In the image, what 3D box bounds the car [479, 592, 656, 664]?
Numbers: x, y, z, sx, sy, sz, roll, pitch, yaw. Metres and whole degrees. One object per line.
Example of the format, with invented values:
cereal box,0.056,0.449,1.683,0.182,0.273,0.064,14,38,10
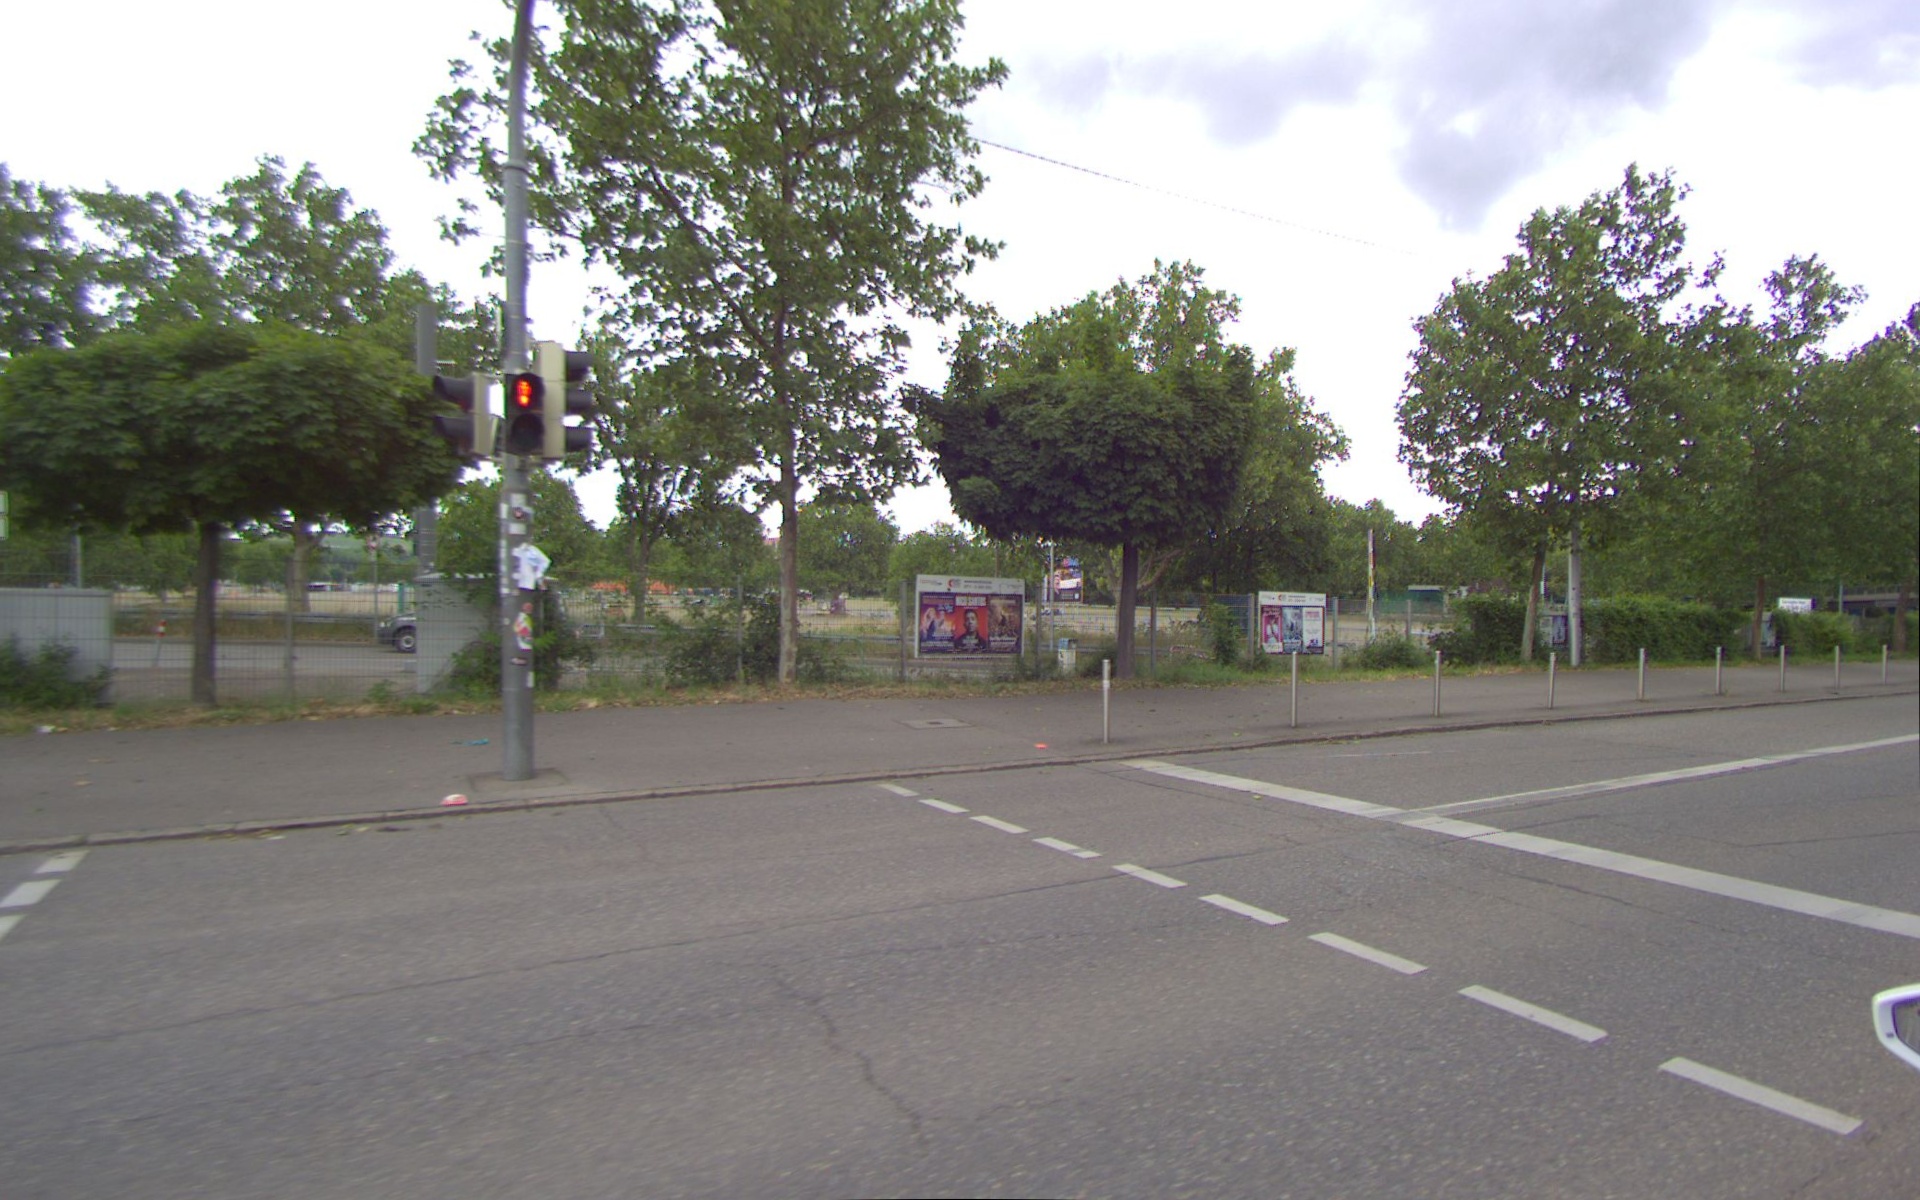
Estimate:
car,-11.069,0.800,28.659,4.519,1.860,1.880,2,2,-18
